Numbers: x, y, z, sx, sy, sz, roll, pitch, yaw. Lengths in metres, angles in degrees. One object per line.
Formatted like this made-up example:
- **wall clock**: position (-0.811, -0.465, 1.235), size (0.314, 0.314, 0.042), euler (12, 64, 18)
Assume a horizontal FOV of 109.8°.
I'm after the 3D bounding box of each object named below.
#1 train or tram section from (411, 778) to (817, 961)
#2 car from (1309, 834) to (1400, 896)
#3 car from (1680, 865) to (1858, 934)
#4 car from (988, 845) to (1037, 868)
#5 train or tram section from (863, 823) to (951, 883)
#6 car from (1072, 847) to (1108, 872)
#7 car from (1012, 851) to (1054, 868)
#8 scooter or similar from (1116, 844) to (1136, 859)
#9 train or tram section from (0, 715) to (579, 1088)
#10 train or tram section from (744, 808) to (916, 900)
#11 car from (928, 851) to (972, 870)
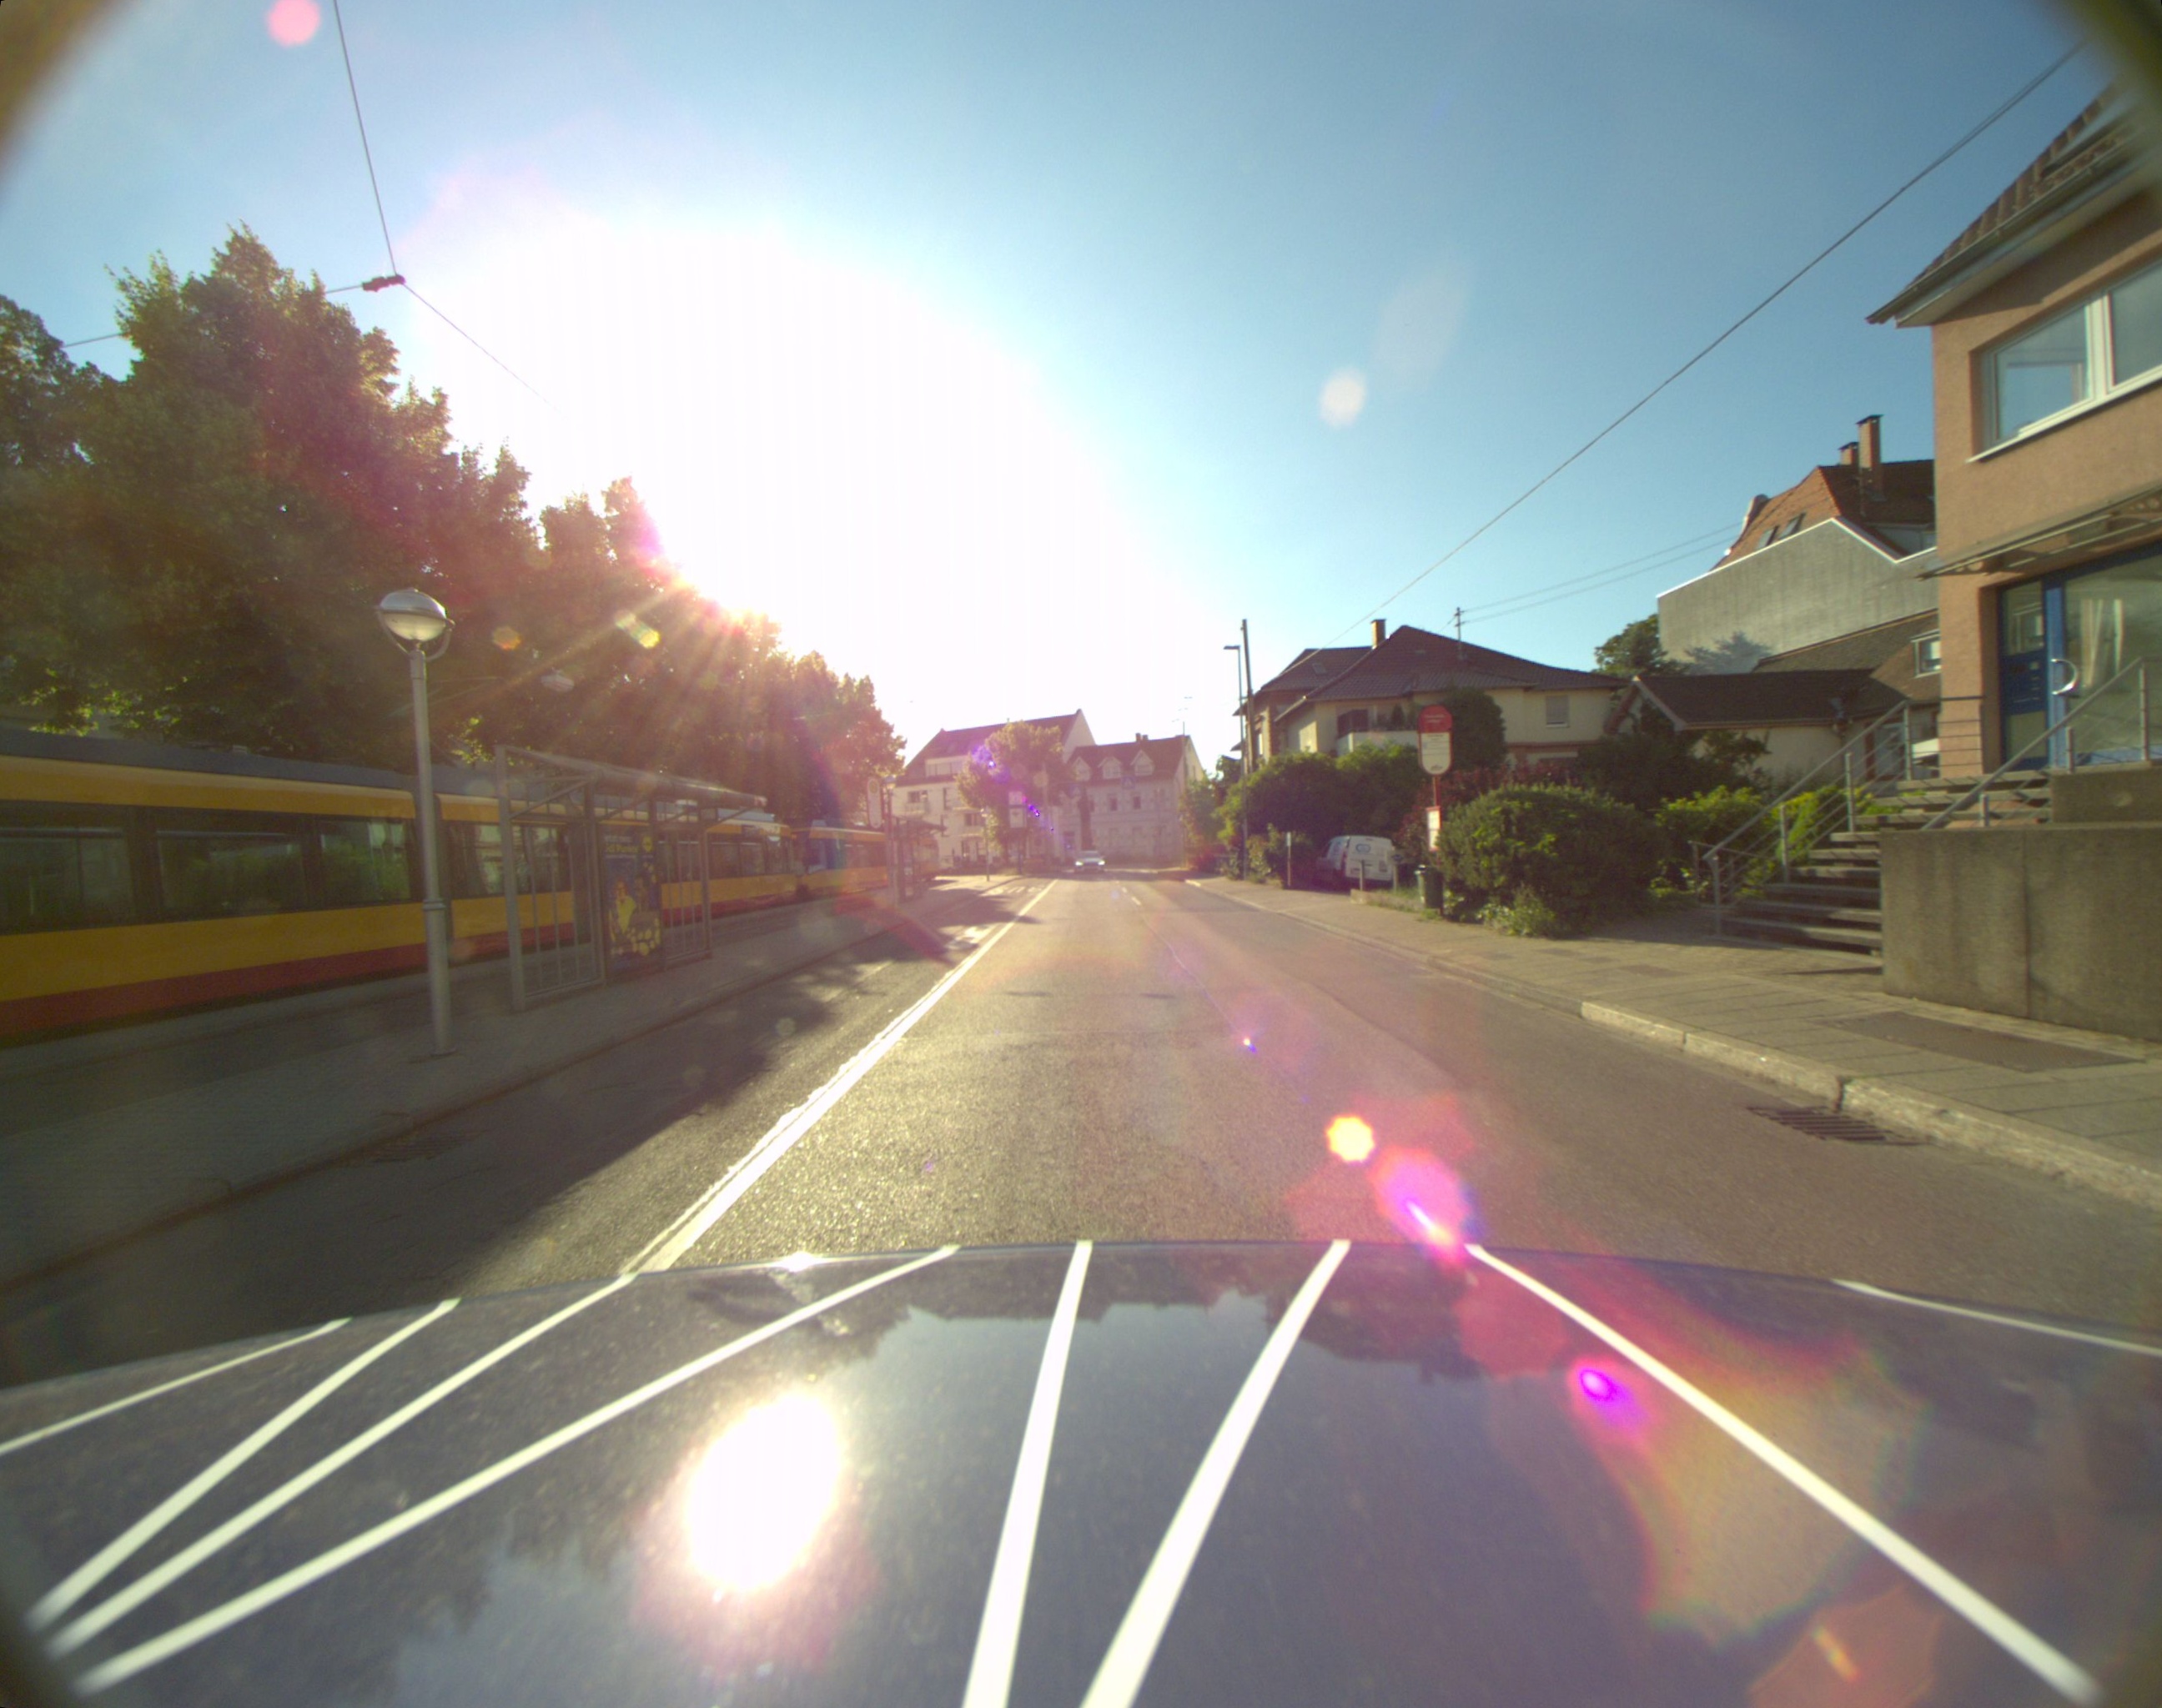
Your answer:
- **train or tram section**: position (-11.494, 0.150, 21.656), size (2.964, 3.514, 13.461), euler (-2, 1, 1)
- **car**: position (8.947, 0.322, 25.169), size (1.705, 1.804, 3.671), euler (4, 1, 2)
- **car**: position (19.866, 1.244, 22.205), size (1.845, 1.659, 3.793), euler (2, 1, 4)
- **car**: position (-6.639, 0.271, 73.300), size (4.780, 1.922, 1.875), euler (-4, 0, 44)
- **train or tram section**: position (-11.351, -0.066, 51.224), size (2.965, 3.402, 13.461), euler (-2, 0, -1)
- **car**: position (0.628, 0.336, 49.630), size (1.998, 1.454, 4.450), euler (-3, 0, 5)
- **car**: position (-5.101, 0.577, 80.161), size (4.196, 1.454, 1.610), euler (-4, 0, 32)
- **scooter or similar**: position (4.607, -0.246, 77.964), size (1.882, 1.358, 0.625), euler (-3, 1, 23)
- **train or tram section**: position (-11.696, 0.488, 7.203), size (2.964, 3.514, 15.966), euler (-2, 1, 1)
- **train or tram section**: position (-11.198, -0.022, 36.623), size (2.965, 3.402, 15.938), euler (-2, 0, 0)
- **car**: position (-14.647, 0.703, 84.996), size (4.263, 1.945, 2.003), euler (-2, 1, 20)
